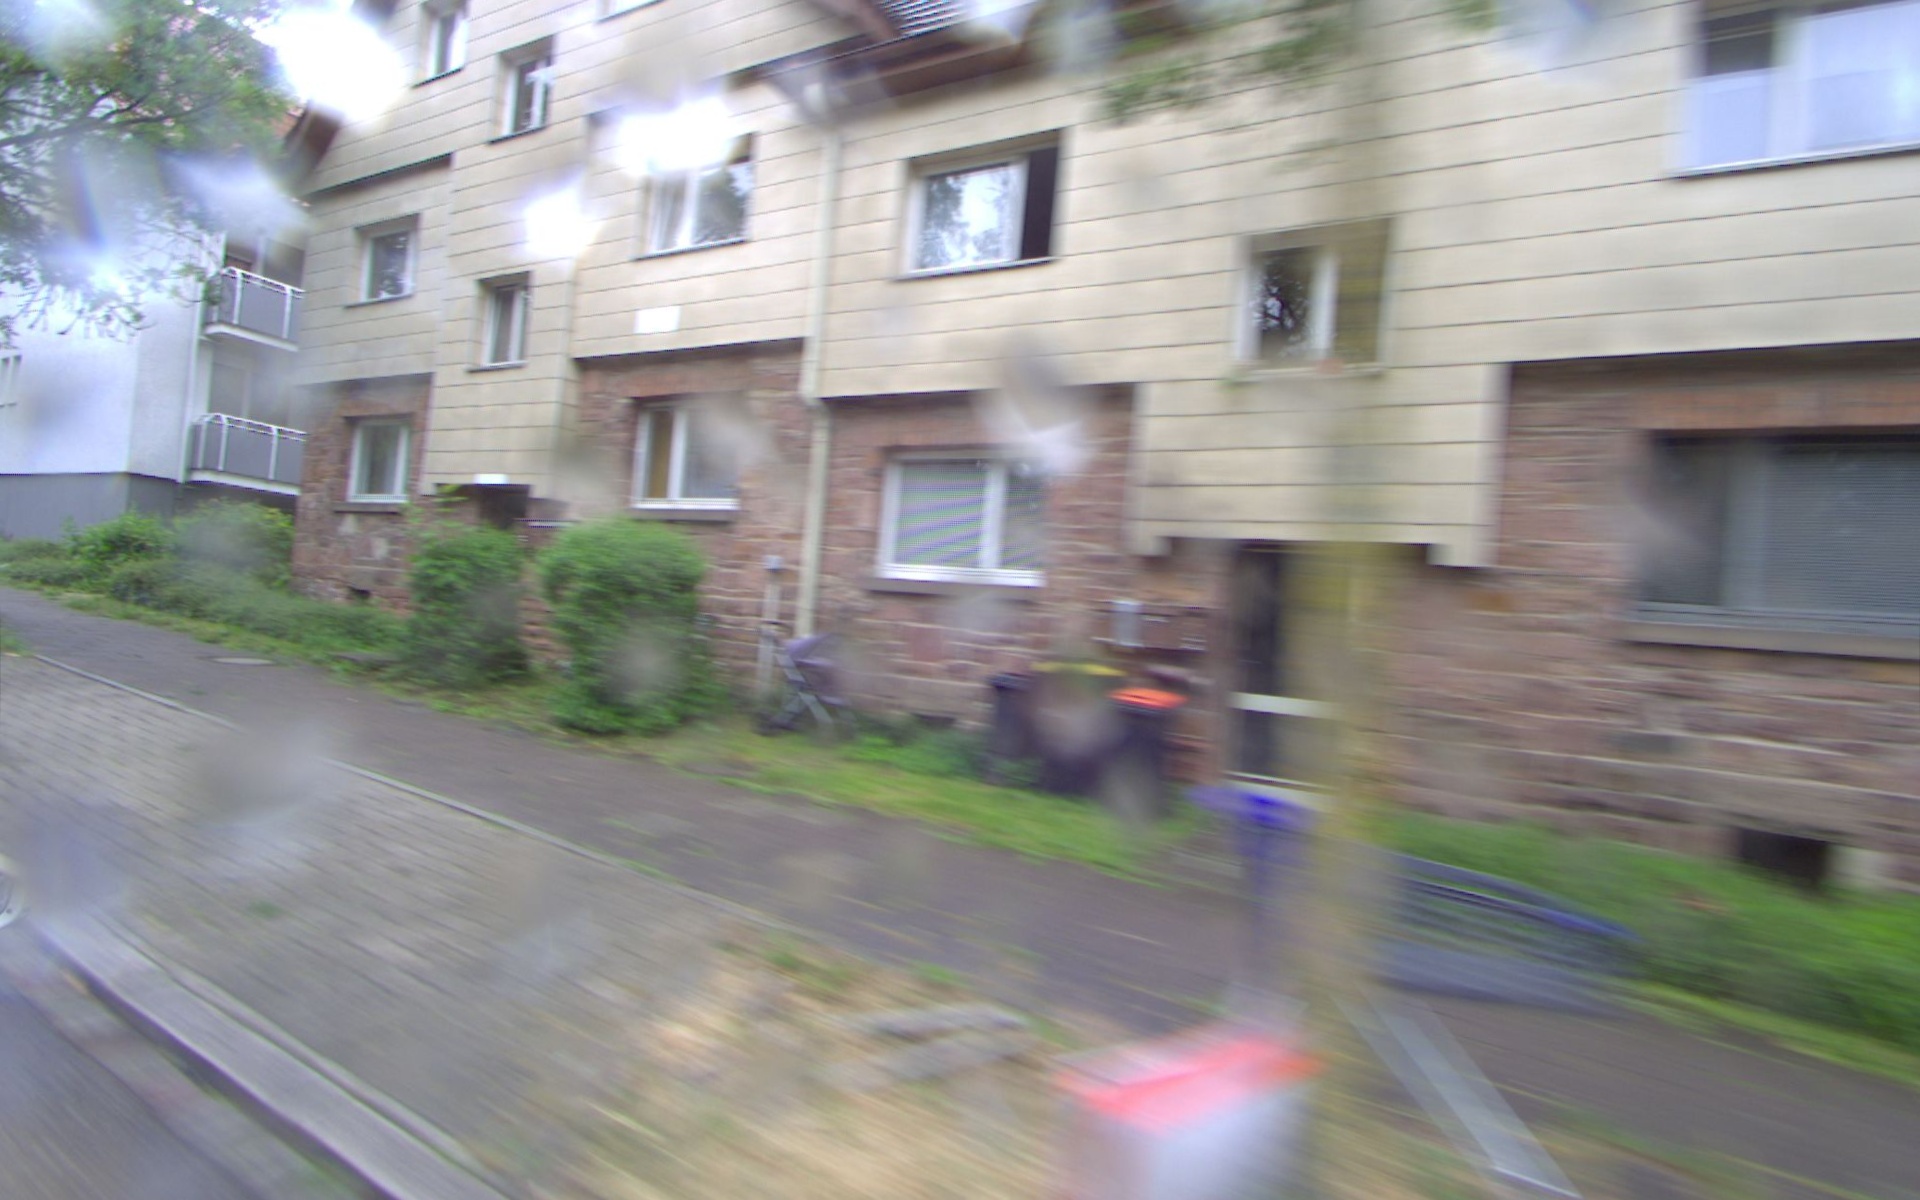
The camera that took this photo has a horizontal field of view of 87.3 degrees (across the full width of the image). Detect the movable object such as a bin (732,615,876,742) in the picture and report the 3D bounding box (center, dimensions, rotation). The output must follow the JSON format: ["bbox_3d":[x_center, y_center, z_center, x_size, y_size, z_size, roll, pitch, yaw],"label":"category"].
[{"bbox_3d":[-1.403,0.707,9.066,0.926,0.976,0.701,8,-1,32],"label":"movable object such as a bin"}]
